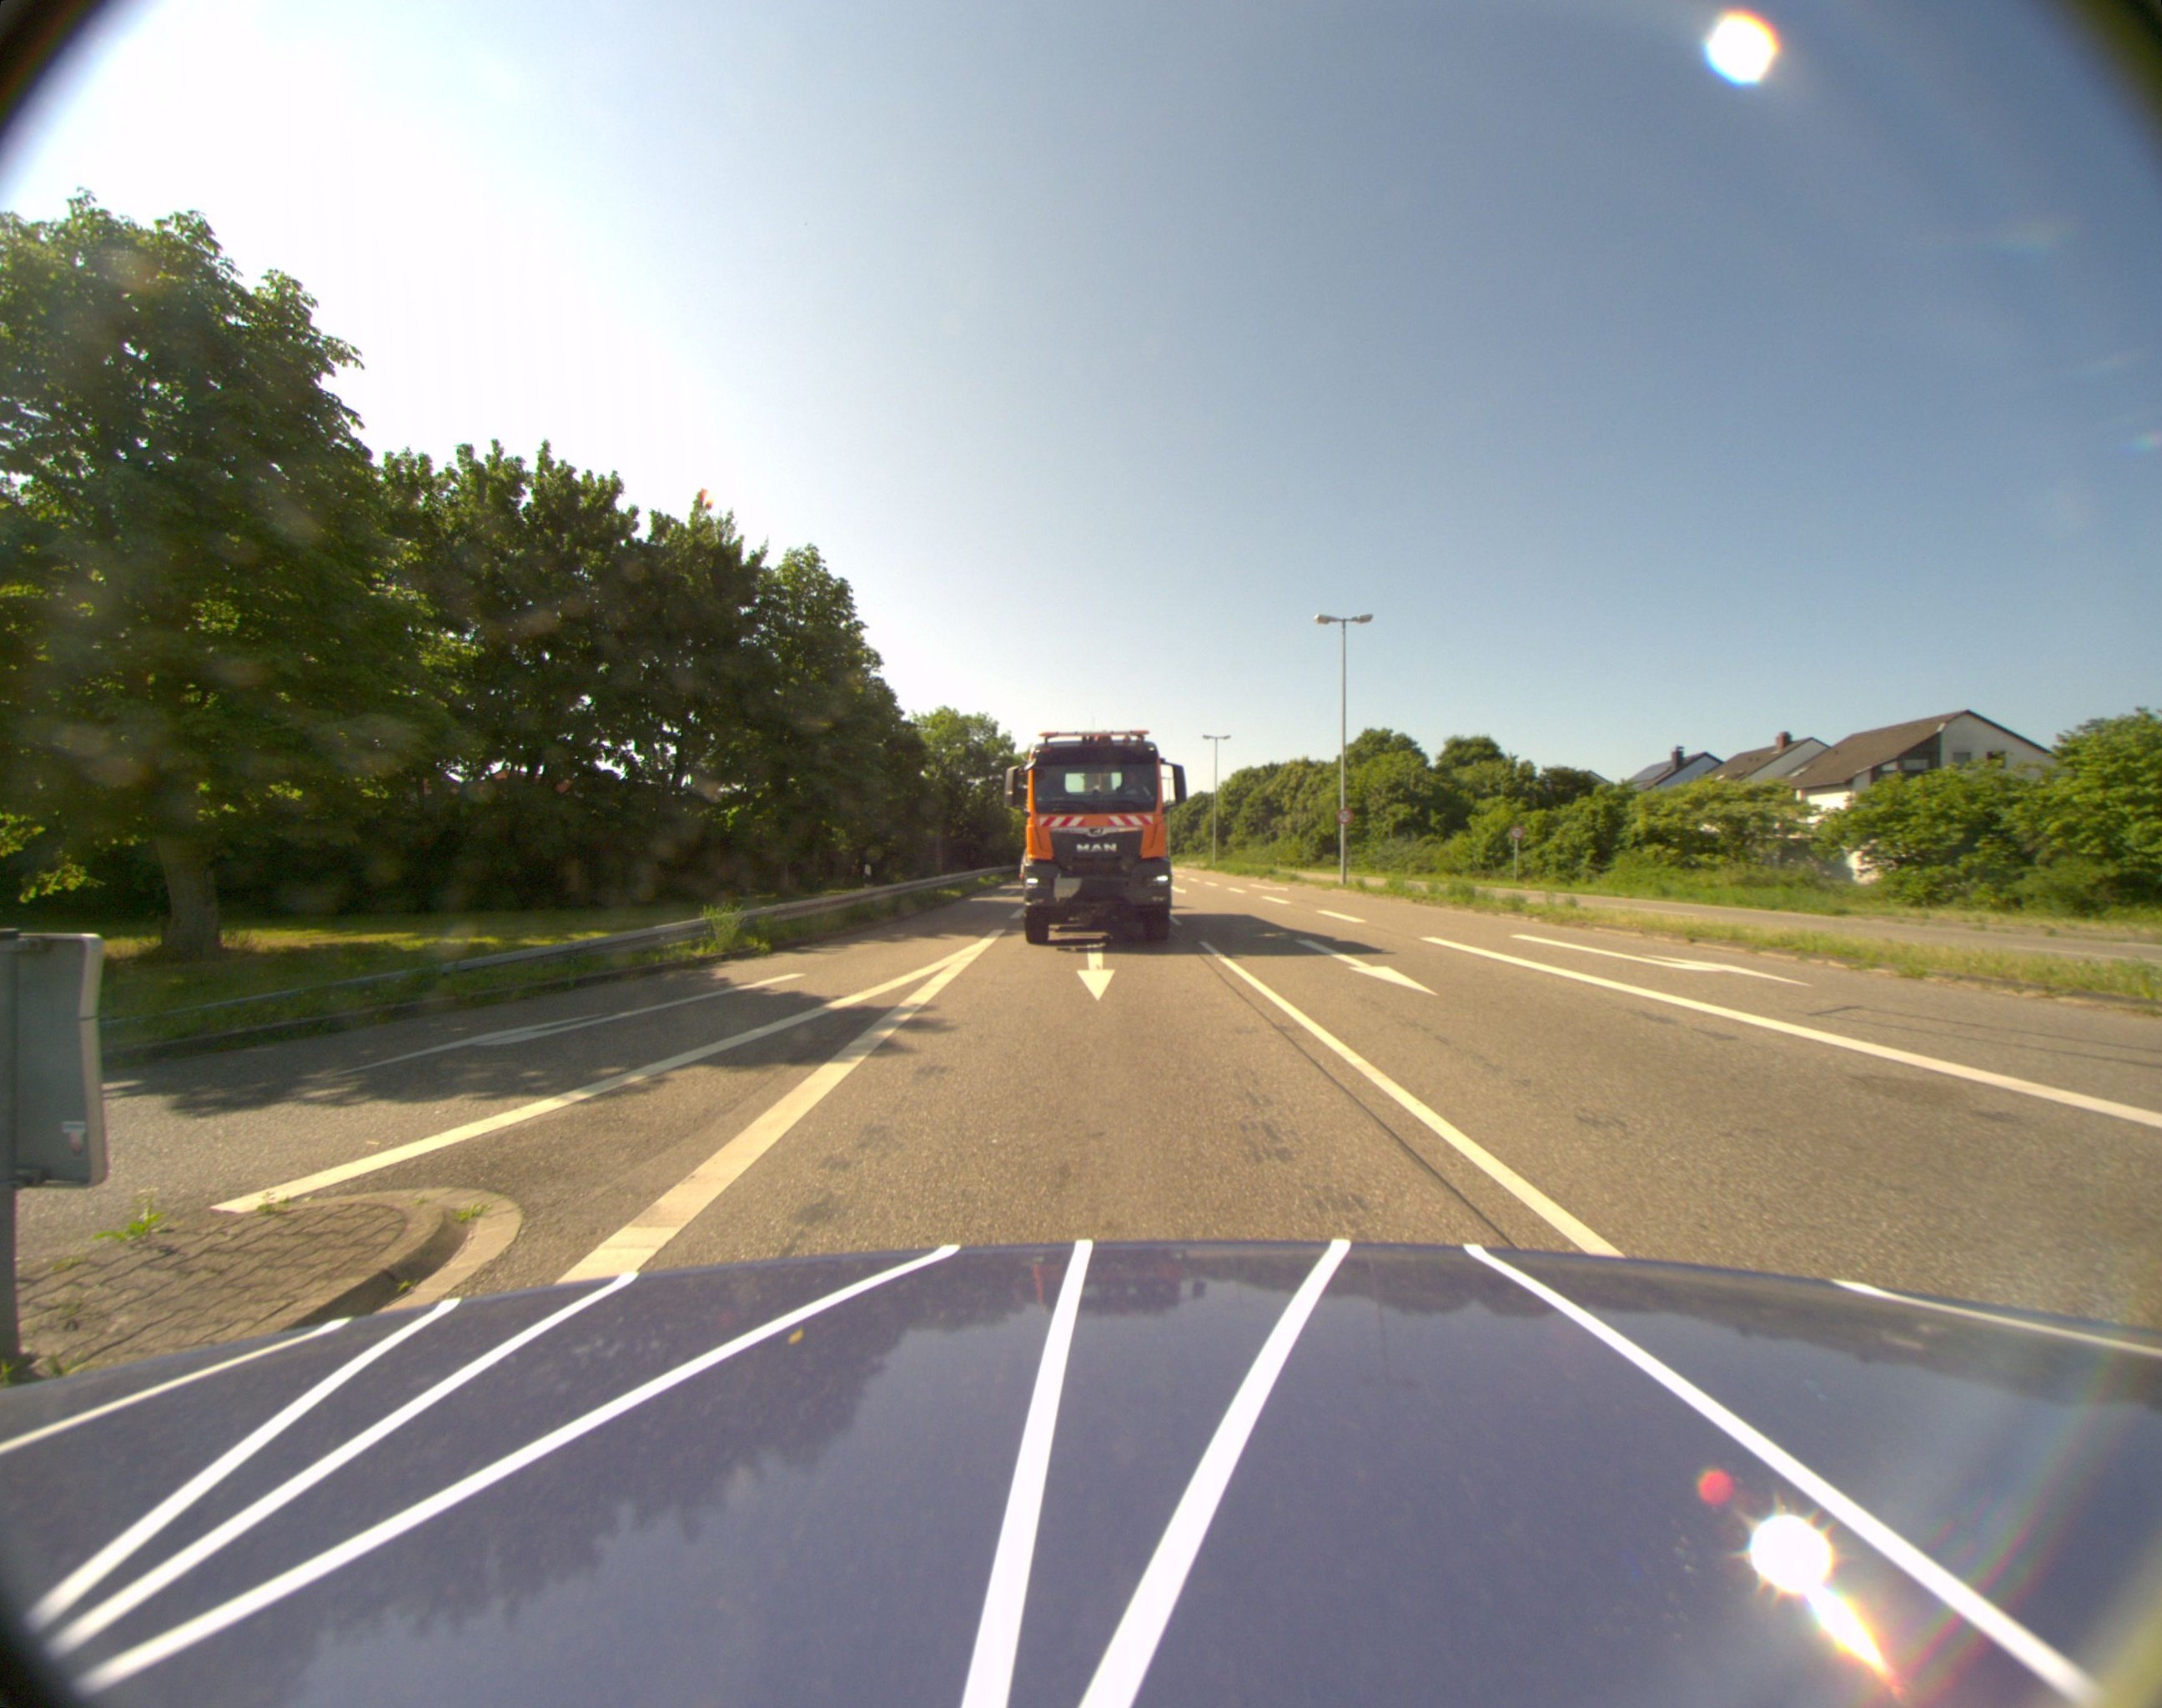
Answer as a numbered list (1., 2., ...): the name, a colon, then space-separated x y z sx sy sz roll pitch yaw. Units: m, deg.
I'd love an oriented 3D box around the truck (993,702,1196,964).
1. truck: 0.296 -0.354 14.740 2.940 3.853 6.590 -2 1 2
